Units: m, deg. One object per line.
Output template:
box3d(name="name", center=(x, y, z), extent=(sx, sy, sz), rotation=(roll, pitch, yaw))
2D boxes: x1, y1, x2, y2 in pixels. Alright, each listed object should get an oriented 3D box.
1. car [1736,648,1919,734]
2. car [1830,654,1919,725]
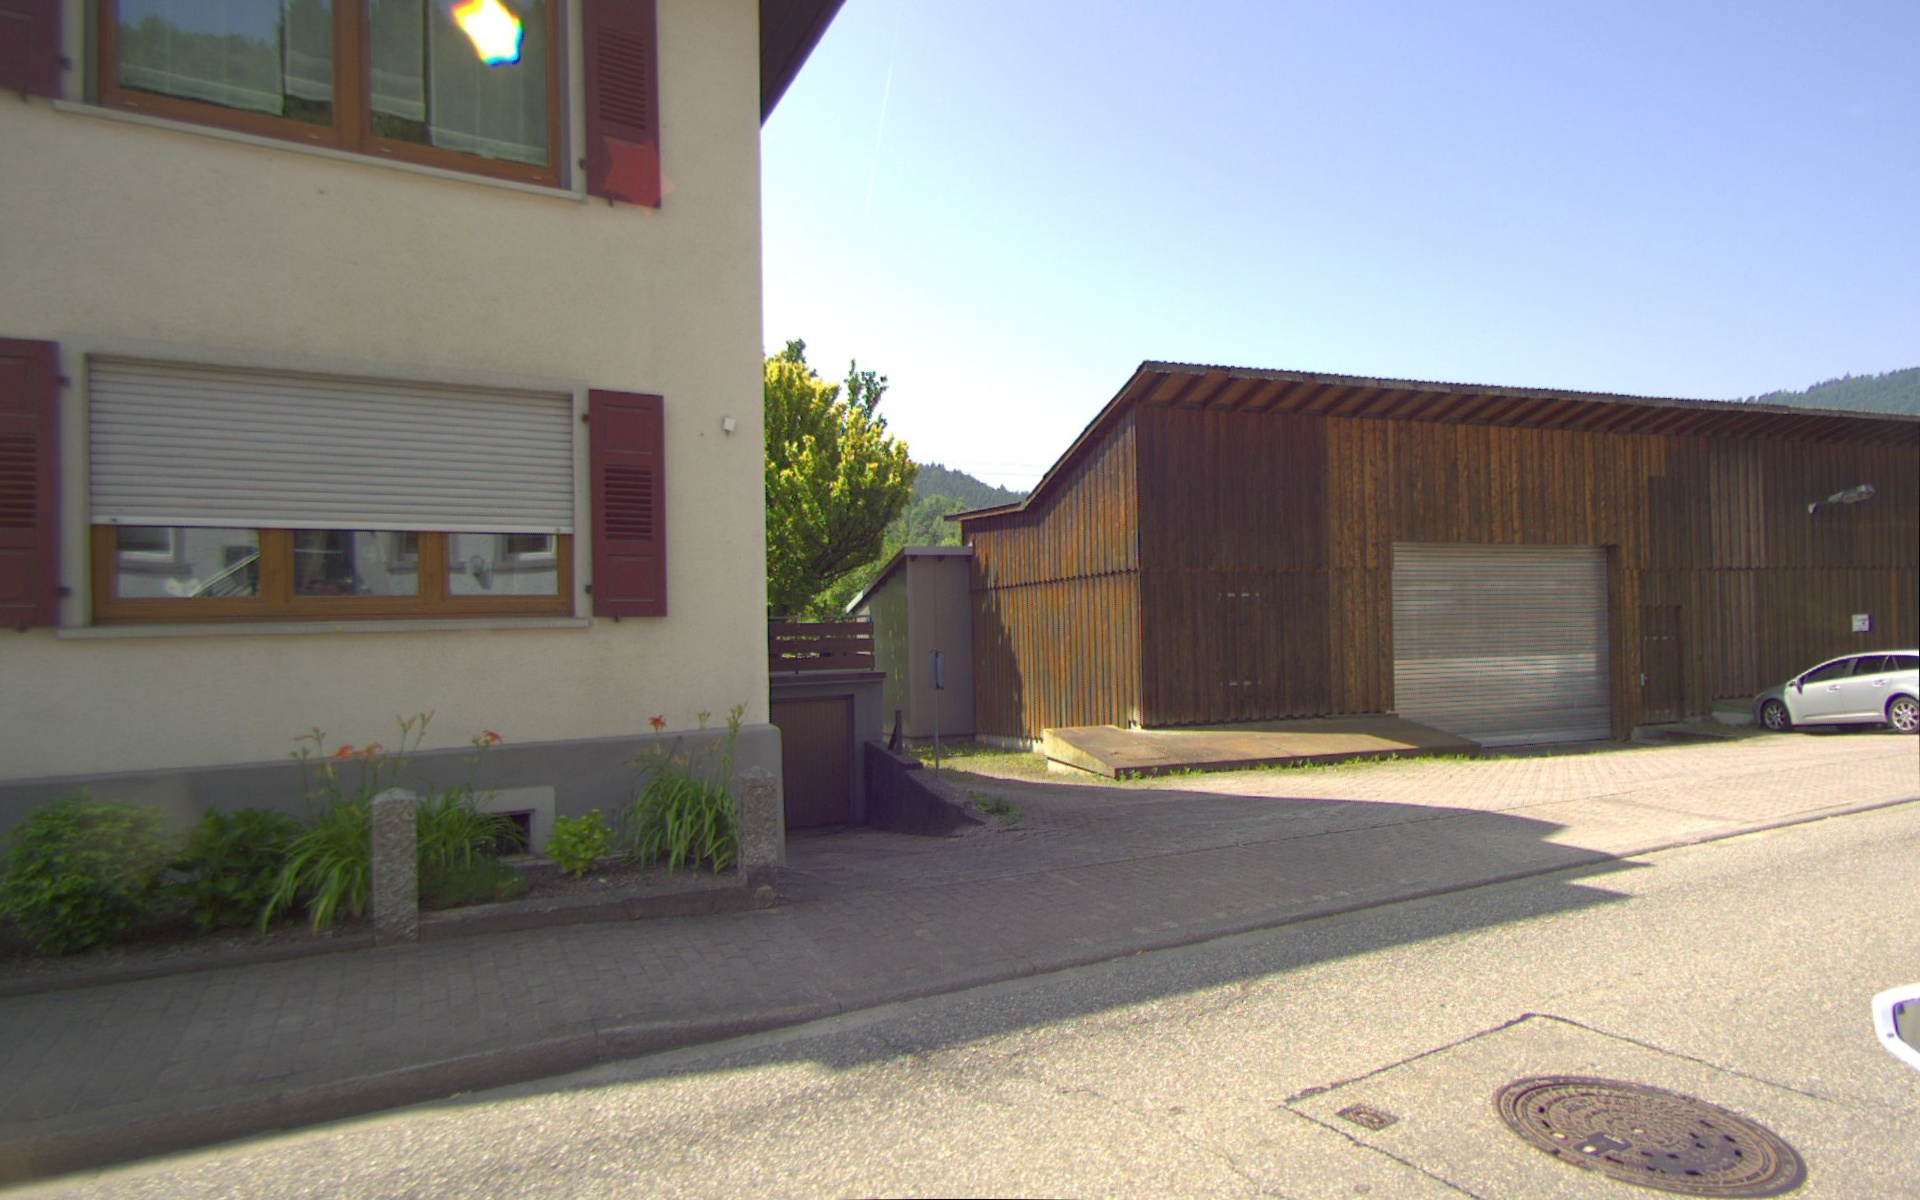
box3d(name="car", center=(17.556, 1.732, 19.109), extent=(1.887, 1.493, 4.445), rotation=(-1, -6, -3))
box3d(name="car", center=(20.134, 1.775, 20.163), extent=(1.682, 1.403, 3.664), rotation=(0, -6, -14))
